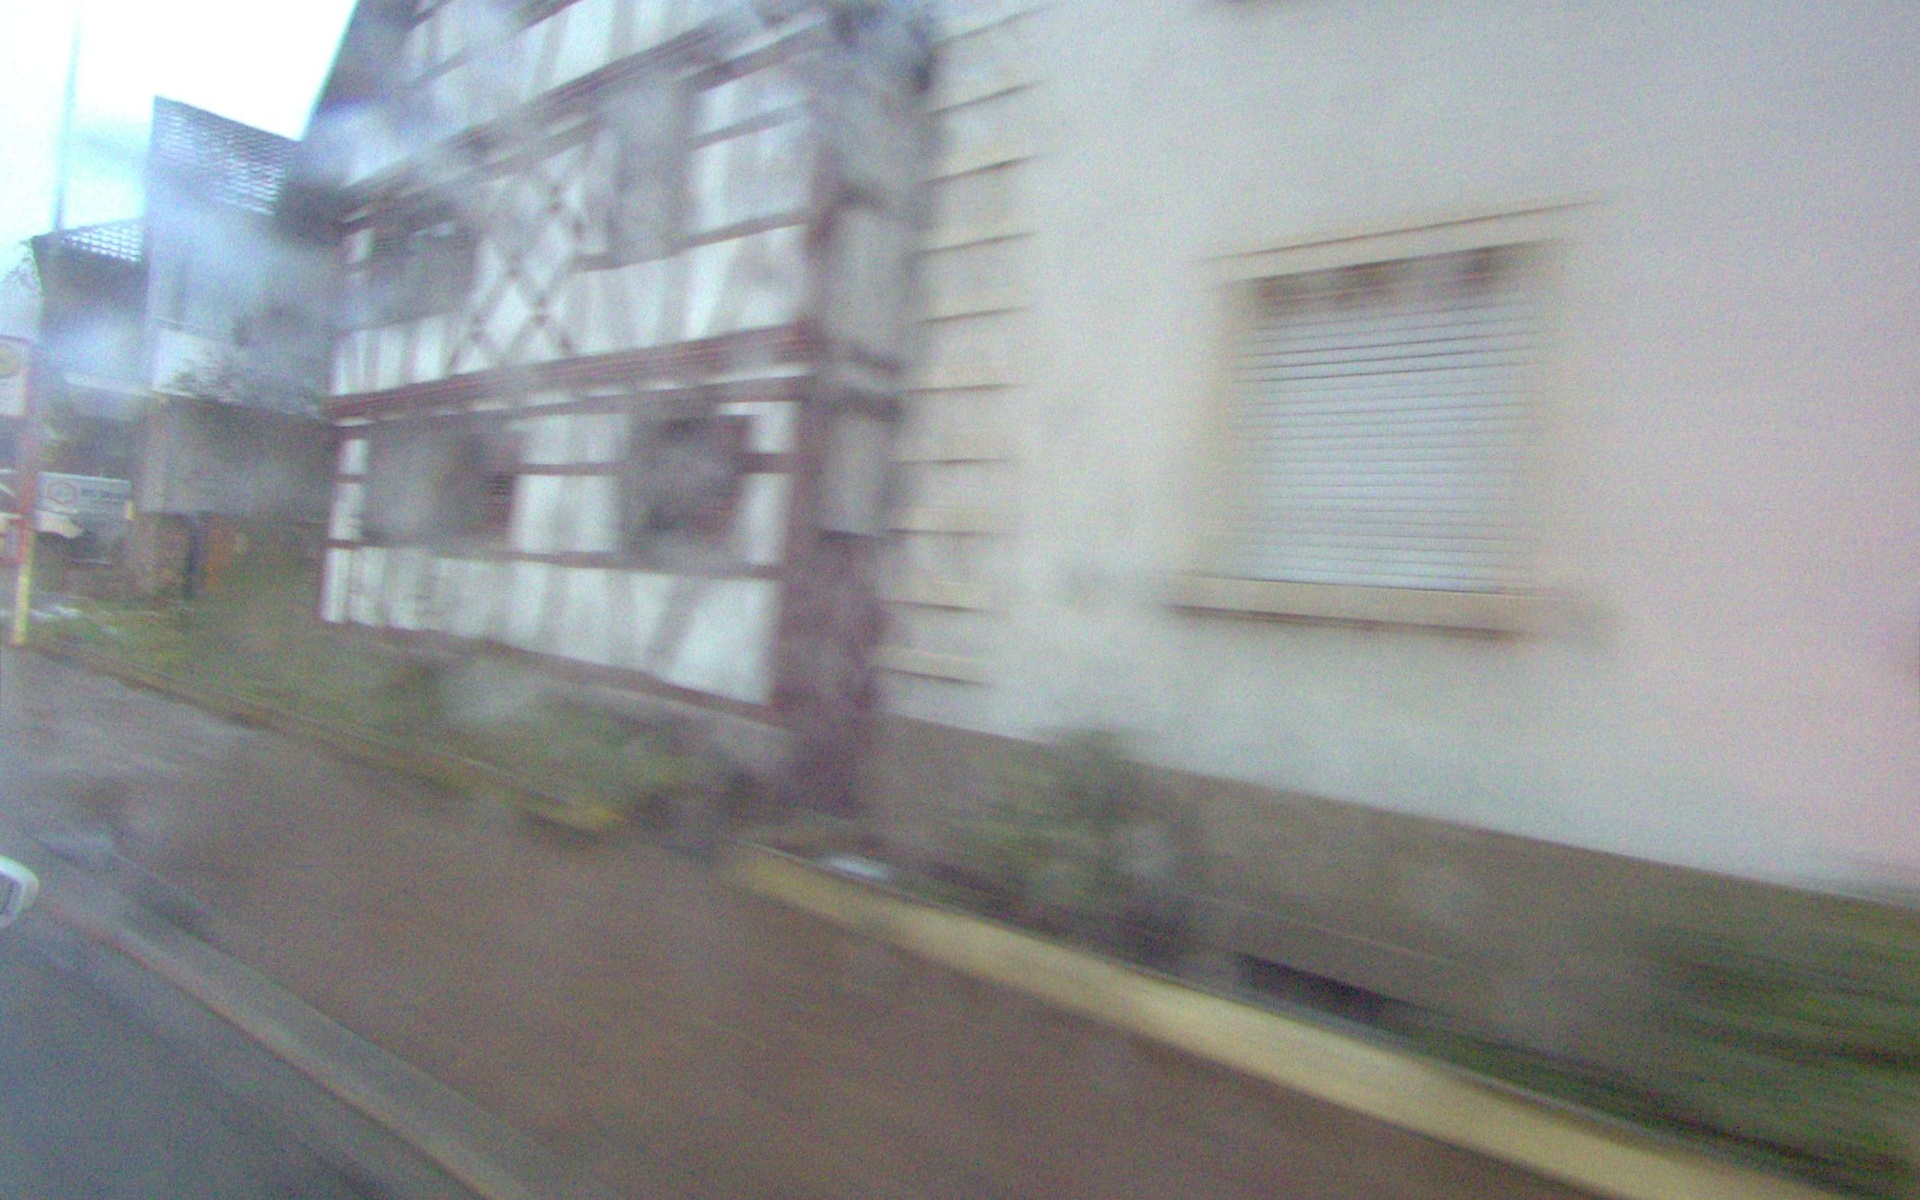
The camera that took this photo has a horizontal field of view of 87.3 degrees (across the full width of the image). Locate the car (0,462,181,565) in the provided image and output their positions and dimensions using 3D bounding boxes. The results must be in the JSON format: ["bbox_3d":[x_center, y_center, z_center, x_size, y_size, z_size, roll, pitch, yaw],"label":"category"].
[{"bbox_3d":[-20.283,-1.966,21.944,4.962,1.914,1.912,4,2,-45],"label":"car"}]

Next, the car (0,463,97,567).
[{"bbox_3d":[-19.281,-1.754,19.181,1.838,1.867,4.032,6,2,41],"label":"car"}]
